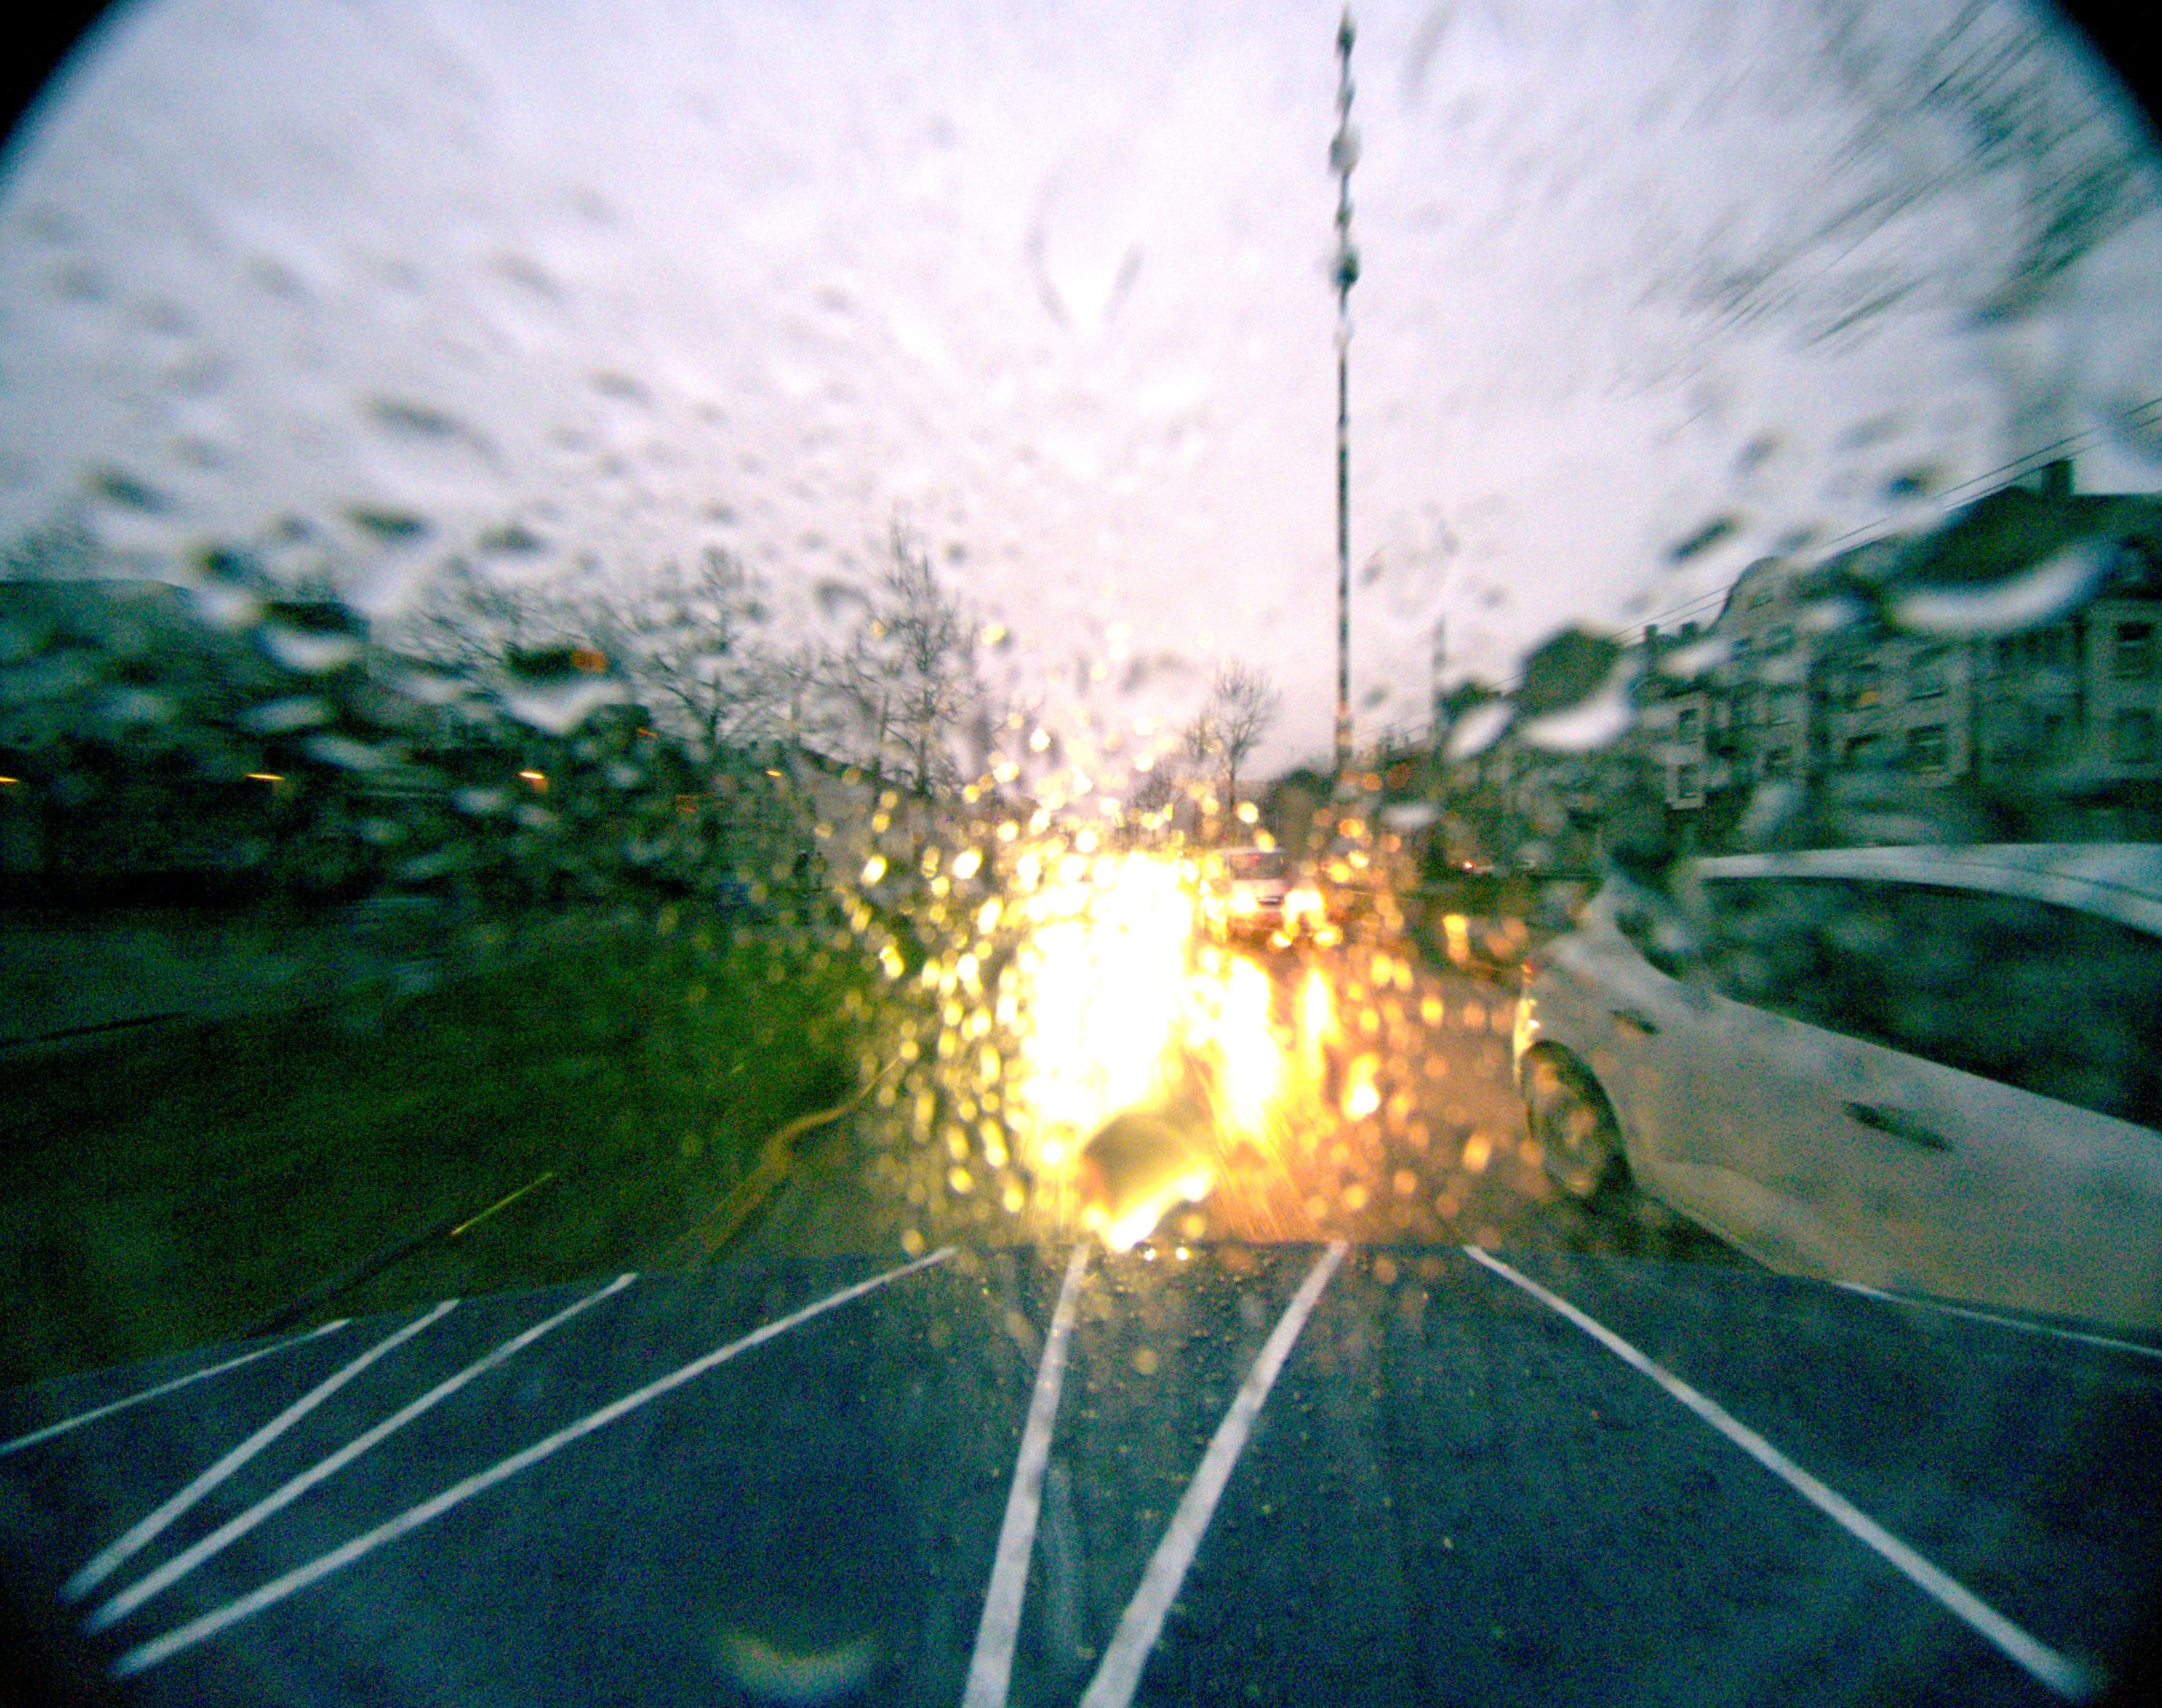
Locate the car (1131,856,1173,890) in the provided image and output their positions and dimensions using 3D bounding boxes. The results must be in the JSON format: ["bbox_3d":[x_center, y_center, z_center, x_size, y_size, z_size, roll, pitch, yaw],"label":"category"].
[{"bbox_3d":[3.400,0.877,36.938,1.905,1.475,3.656,-2,0,4],"label":"car"}]

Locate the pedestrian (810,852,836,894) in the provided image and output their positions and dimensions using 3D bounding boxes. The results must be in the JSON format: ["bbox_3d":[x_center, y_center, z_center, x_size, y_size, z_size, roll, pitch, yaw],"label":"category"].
[{"bbox_3d":[-10.141,0.734,29.855,0.673,1.603,0.615,-2,1,15],"label":"pedestrian"}]

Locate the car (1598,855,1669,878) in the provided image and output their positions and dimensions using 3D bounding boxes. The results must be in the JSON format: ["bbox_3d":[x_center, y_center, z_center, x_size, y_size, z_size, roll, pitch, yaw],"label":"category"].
[{"bbox_3d":[28.919,0.666,39.831,2.912,0.984,1.798,-4,1,36],"label":"car"}]

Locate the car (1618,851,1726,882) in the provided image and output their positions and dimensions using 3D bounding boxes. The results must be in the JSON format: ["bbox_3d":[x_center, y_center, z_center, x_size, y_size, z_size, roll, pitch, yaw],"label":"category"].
[{"bbox_3d":[28.560,0.622,36.839,4.034,1.223,1.351,-4,1,37],"label":"car"}]

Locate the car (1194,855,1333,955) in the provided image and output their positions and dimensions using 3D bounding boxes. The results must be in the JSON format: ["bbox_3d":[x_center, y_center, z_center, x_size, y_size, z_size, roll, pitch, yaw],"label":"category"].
[{"bbox_3d":[3.176,0.811,13.962,1.638,1.510,3.907,-2,0,1],"label":"car"}]

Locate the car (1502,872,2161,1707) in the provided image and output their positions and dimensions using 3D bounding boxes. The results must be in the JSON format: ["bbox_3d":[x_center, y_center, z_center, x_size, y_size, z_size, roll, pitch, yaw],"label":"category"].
[{"bbox_3d":[2.772,0.854,1.529,1.692,1.465,4.001,-2,0,2],"label":"car"}]

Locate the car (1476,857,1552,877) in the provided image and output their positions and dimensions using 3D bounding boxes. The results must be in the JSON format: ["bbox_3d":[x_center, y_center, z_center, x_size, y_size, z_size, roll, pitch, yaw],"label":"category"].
[{"bbox_3d":[29.859,0.936,52.475,4.254,1.250,1.837,-2,0,41],"label":"car"}]

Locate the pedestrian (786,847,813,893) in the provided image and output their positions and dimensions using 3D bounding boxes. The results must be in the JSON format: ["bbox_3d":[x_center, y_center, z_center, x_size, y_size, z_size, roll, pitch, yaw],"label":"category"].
[{"bbox_3d":[-11.152,0.618,30.102,0.673,1.767,0.615,-2,1,15],"label":"pedestrian"}]

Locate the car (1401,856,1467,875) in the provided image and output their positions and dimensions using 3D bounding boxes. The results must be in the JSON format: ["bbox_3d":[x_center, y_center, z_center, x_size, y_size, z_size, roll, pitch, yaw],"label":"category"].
[{"bbox_3d":[29.016,0.942,62.555,4.651,1.423,1.697,-2,0,37],"label":"car"}]

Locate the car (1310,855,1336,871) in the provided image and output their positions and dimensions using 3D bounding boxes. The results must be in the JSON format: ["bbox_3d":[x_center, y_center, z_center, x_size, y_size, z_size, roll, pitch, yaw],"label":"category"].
[{"bbox_3d":[24.949,0.878,78.317,1.549,1.495,3.784,-2,0,2],"label":"car"}]

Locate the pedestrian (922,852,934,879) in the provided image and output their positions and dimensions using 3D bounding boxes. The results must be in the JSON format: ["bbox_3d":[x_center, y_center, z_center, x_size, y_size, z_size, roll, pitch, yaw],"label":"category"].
[{"bbox_3d":[-9.819,0.733,48.743,0.669,1.646,0.994,0,1,-4],"label":"pedestrian"}]

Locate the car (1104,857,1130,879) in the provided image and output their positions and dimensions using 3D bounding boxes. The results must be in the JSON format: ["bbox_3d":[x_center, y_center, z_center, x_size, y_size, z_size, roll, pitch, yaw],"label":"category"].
[{"bbox_3d":[2.385,0.904,50.476,1.538,1.347,3.546,-2,0,1],"label":"car"}]

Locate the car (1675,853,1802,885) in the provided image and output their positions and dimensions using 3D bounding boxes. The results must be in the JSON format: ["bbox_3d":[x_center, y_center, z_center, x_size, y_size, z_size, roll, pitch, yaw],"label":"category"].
[{"bbox_3d":[28.903,0.680,33.542,4.095,1.154,1.715,-4,1,40],"label":"car"}]

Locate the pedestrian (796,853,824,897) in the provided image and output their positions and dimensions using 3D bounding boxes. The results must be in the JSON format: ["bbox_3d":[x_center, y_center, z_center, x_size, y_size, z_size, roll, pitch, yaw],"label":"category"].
[{"bbox_3d":[-10.031,0.775,28.111,0.673,1.615,0.615,-2,1,16],"label":"pedestrian"}]

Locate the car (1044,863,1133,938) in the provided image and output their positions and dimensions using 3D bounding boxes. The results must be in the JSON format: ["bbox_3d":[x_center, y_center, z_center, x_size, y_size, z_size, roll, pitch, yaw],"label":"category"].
[{"bbox_3d":[0.167,0.911,16.470,1.669,1.325,3.787,-2,0,1],"label":"car"}]

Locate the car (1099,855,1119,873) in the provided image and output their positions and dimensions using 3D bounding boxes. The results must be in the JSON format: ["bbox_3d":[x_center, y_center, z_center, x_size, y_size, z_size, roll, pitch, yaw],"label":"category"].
[{"bbox_3d":[2.715,0.944,74.577,1.802,1.674,3.805,-2,0,1],"label":"car"}]
